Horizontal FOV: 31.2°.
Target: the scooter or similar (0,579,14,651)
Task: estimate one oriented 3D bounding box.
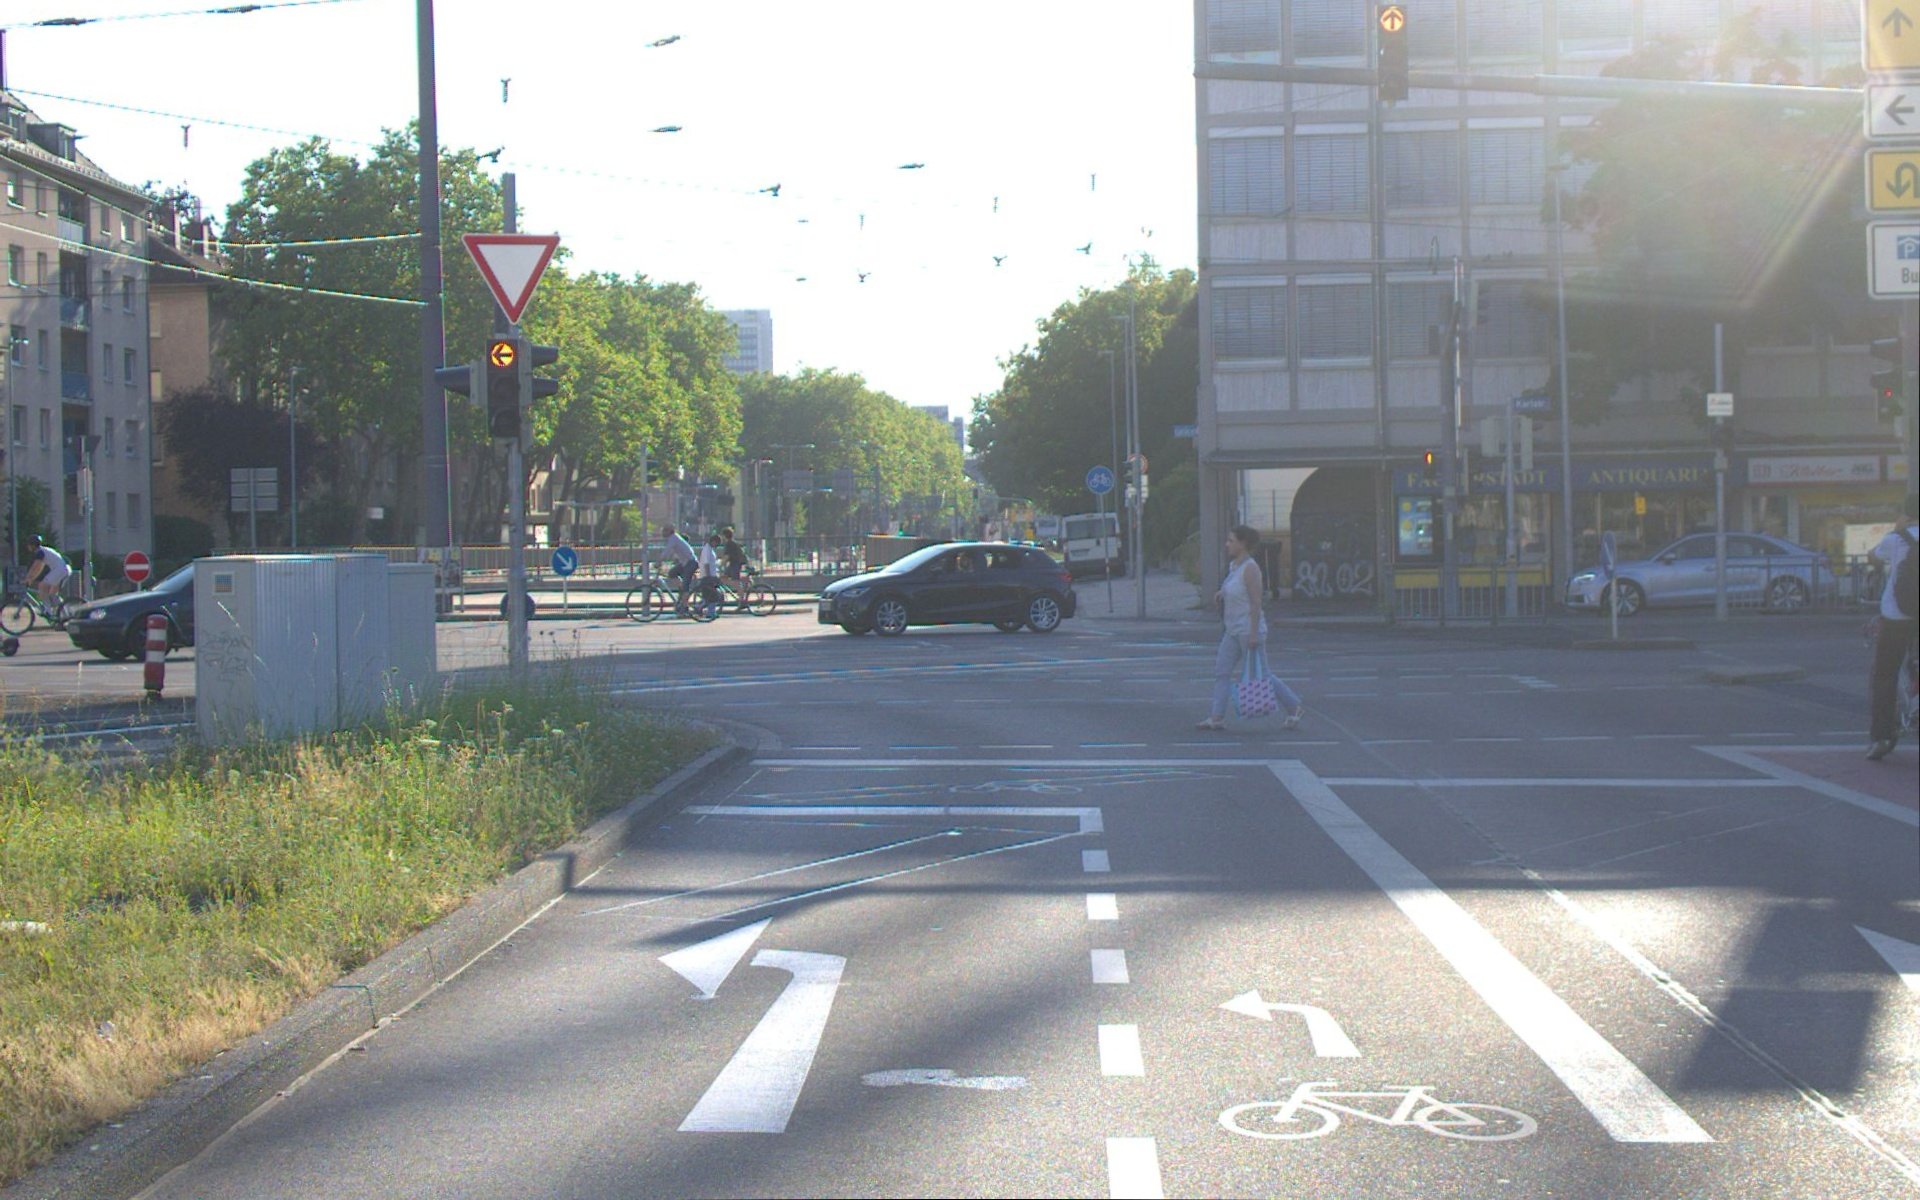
[{"bbox_3d":[-14.789,0.236,51.359,1.171,1.068,0.530,-2,1,-8],"label":"scooter or similar"}]

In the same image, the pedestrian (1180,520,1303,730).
[{"bbox_3d":[2.180,0.183,26.682,0.878,1.592,0.655,-1,1,1],"label":"pedestrian"}]

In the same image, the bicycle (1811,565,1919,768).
[{"bbox_3d":[6.264,0.418,23.064,0.644,1.219,2.048,1,3,2],"label":"bicycle"}]

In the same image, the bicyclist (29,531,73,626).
[{"bbox_3d":[-16.600,-0.393,62.807,0.663,1.706,0.538,-2,1,-8],"label":"bicyclist"}]

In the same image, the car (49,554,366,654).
[{"bbox_3d":[-10.717,0.037,49.048,3.988,1.284,1.847,-2,1,-37],"label":"car"}]

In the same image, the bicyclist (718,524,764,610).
[{"bbox_3d":[-4.528,-0.695,71.062,0.898,1.747,0.650,-1,1,-2],"label":"bicyclist"}]

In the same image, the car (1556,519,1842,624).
[{"bbox_3d":[12.127,-0.479,56.607,4.332,1.590,2.000,-1,1,4],"label":"car"}]

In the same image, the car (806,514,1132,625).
[{"bbox_3d":[0.130,-0.495,54.416,4.763,1.590,2.001,-2,1,-15],"label":"car"}]

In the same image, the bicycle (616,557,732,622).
[{"bbox_3d":[-5.294,-0.199,63.727,2.093,1.133,0.658,-1,1,-3],"label":"bicycle"}]

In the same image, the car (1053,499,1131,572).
[{"bbox_3d":[4.602,-2.232,120.574,2.486,2.384,5.934,-3,1,1],"label":"car"}]

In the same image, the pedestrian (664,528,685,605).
[{"bbox_3d":[-5.654,-0.662,68.027,0.366,1.502,0.543,-1,1,-5],"label":"pedestrian"}]

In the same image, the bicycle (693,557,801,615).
[{"bbox_3d":[-4.399,-0.284,71.087,2.173,1.133,0.659,-1,1,-3],"label":"bicycle"}]

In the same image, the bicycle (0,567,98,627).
[{"bbox_3d":[-16.688,-0.058,62.806,1.731,1.056,0.539,-2,1,-8],"label":"bicycle"}]

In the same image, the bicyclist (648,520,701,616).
[{"bbox_3d":[-5.286,-0.590,63.720,0.898,1.747,0.655,-1,1,-2],"label":"bicyclist"}]

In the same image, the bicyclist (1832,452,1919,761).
[{"bbox_3d":[6.275,0.024,22.905,0.643,2.006,1.067,1,3,2],"label":"bicyclist"}]
